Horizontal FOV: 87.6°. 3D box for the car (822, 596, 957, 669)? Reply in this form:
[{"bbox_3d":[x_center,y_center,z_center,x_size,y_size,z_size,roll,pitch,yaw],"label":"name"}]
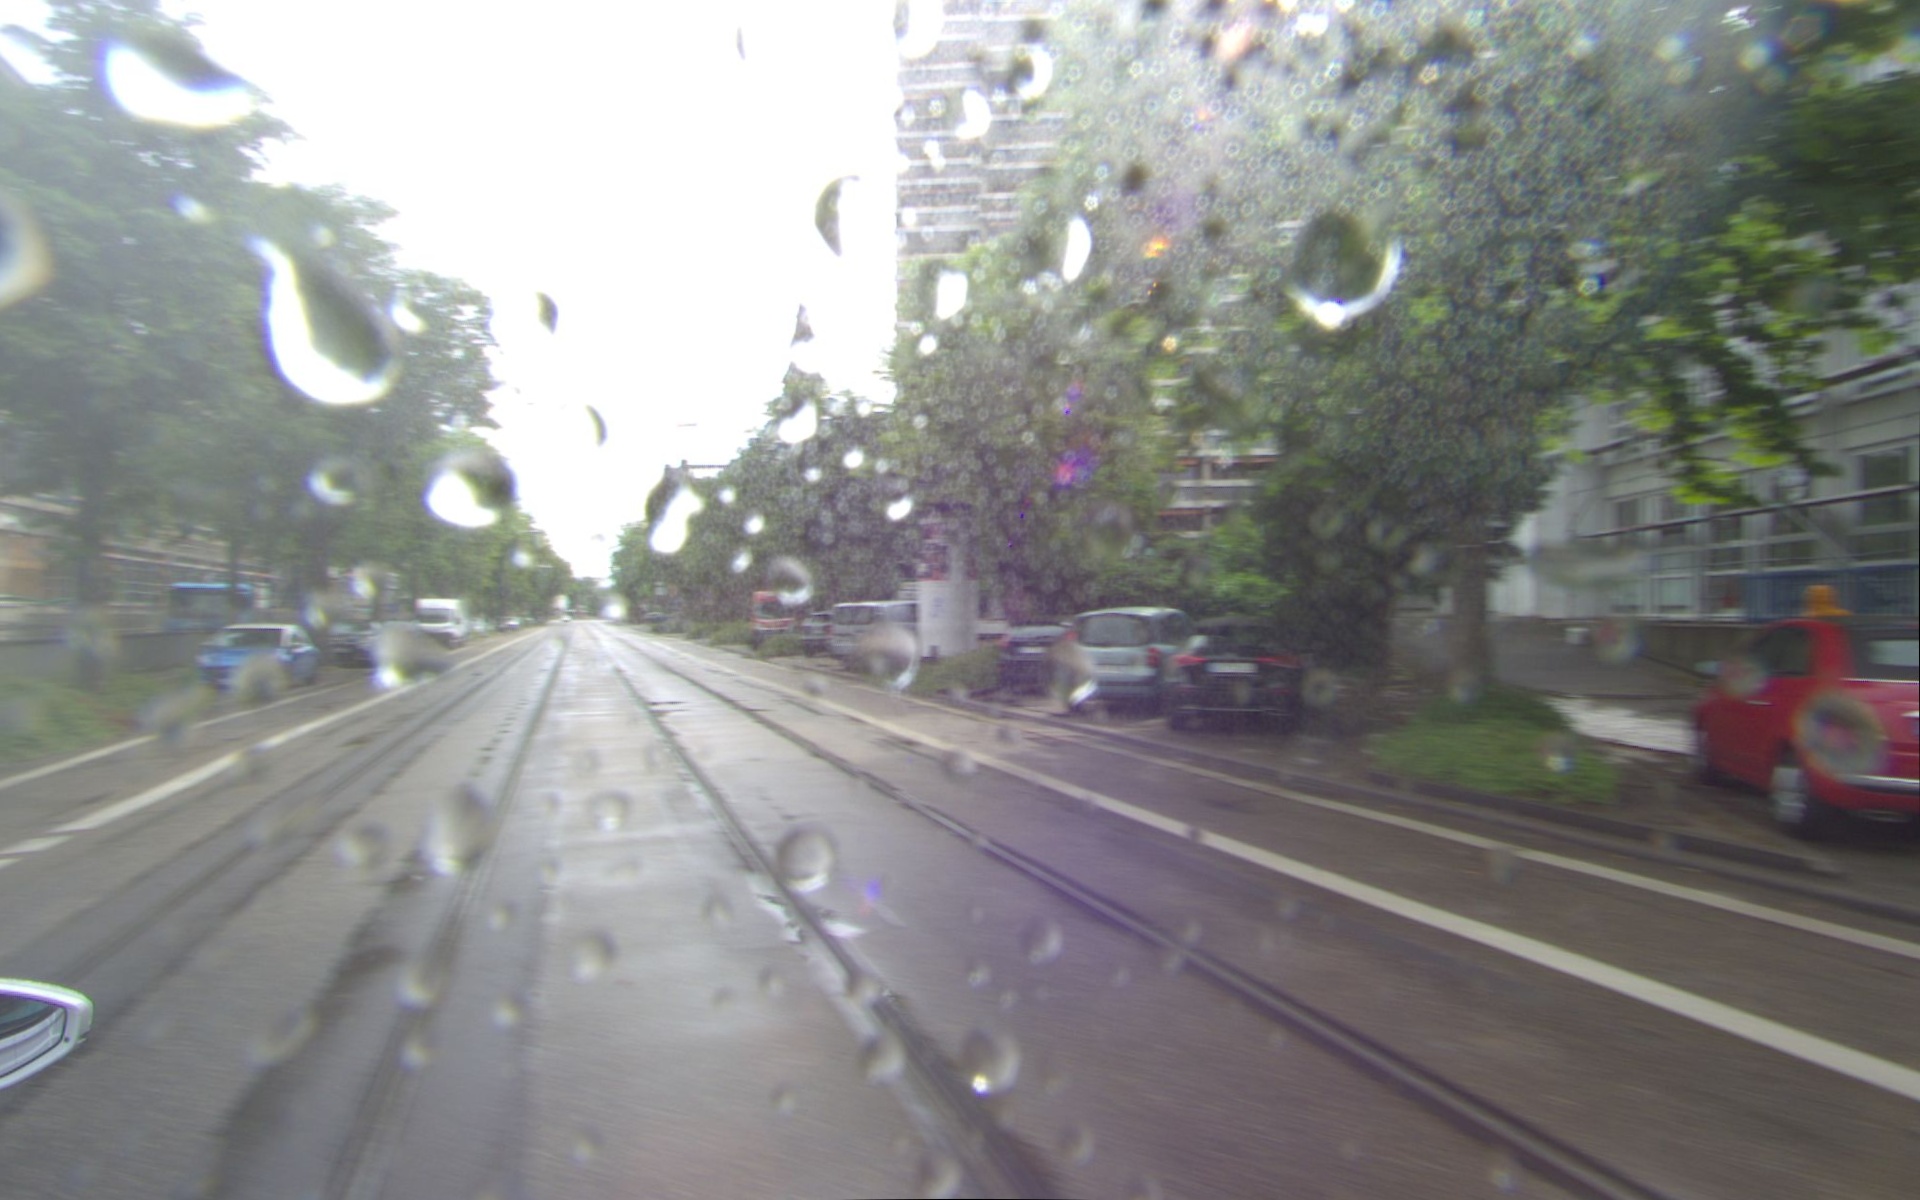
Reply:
[{"bbox_3d":[-1.950,0.902,29.256,1.906,1.921,4.630,1,0,25],"label":"car"}]

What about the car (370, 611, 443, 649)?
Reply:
[{"bbox_3d":[-23.340,1.251,42.404,1.786,1.489,4.066,2,-2,-16],"label":"car"}]

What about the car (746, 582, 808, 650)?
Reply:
[{"bbox_3d":[-7.778,0.663,42.991,2.258,2.668,5.481,1,0,-7],"label":"car"}]

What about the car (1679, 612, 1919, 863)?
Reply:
[{"bbox_3d":[6.800,0.864,7.395,1.713,1.489,3.398,2,0,24],"label":"car"}]

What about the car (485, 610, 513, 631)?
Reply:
[{"bbox_3d":[-41.976,1.879,91.284,1.832,1.764,3.992,2,-2,-18],"label":"car"}]

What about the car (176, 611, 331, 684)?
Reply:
[{"bbox_3d":[-15.928,1.064,22.812,1.859,1.489,3.991,2,-2,-20],"label":"car"}]

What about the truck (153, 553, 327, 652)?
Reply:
[{"bbox_3d":[-29.593,0.269,41.805,3.188,3.571,9.888,2,-2,-20],"label":"truck"}]

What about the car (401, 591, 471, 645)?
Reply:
[{"bbox_3d":[-26.358,0.955,50.594,2.555,2.505,6.135,2,-2,-23],"label":"car"}]

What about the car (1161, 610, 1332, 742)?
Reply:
[{"bbox_3d":[3.941,0.894,13.392,1.713,1.488,3.639,0,-1,24],"label":"car"}]

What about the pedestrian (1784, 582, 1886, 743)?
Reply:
[{"bbox_3d":[10.030,0.698,11.508,0.696,1.765,0.836,1,-2,28],"label":"pedestrian"}]

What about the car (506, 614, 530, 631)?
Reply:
[{"bbox_3d":[-45.483,2.302,103.009,1.832,1.658,3.992,2,-2,-18],"label":"car"}]

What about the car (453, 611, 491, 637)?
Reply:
[{"bbox_3d":[-34.285,1.719,70.462,1.832,1.764,3.992,2,-2,-18],"label":"car"}]

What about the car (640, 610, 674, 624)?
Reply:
[{"bbox_3d":[-40.736,2.298,134.764,4.221,1.672,1.997,2,-2,-16],"label":"car"}]

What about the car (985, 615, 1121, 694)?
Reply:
[{"bbox_3d":[1.948,1.014,20.013,1.739,1.415,3.641,0,-1,22],"label":"car"}]

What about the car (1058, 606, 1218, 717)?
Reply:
[{"bbox_3d":[2.988,0.905,16.212,1.681,1.571,3.638,0,-1,25],"label":"car"}]

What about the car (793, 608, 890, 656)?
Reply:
[{"bbox_3d":[-4.259,1.118,36.516,1.755,1.586,4.034,0,1,23],"label":"car"}]

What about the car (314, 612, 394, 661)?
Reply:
[{"bbox_3d":[-19.822,1.199,32.902,1.861,1.489,3.985,2,-2,-26],"label":"car"}]
